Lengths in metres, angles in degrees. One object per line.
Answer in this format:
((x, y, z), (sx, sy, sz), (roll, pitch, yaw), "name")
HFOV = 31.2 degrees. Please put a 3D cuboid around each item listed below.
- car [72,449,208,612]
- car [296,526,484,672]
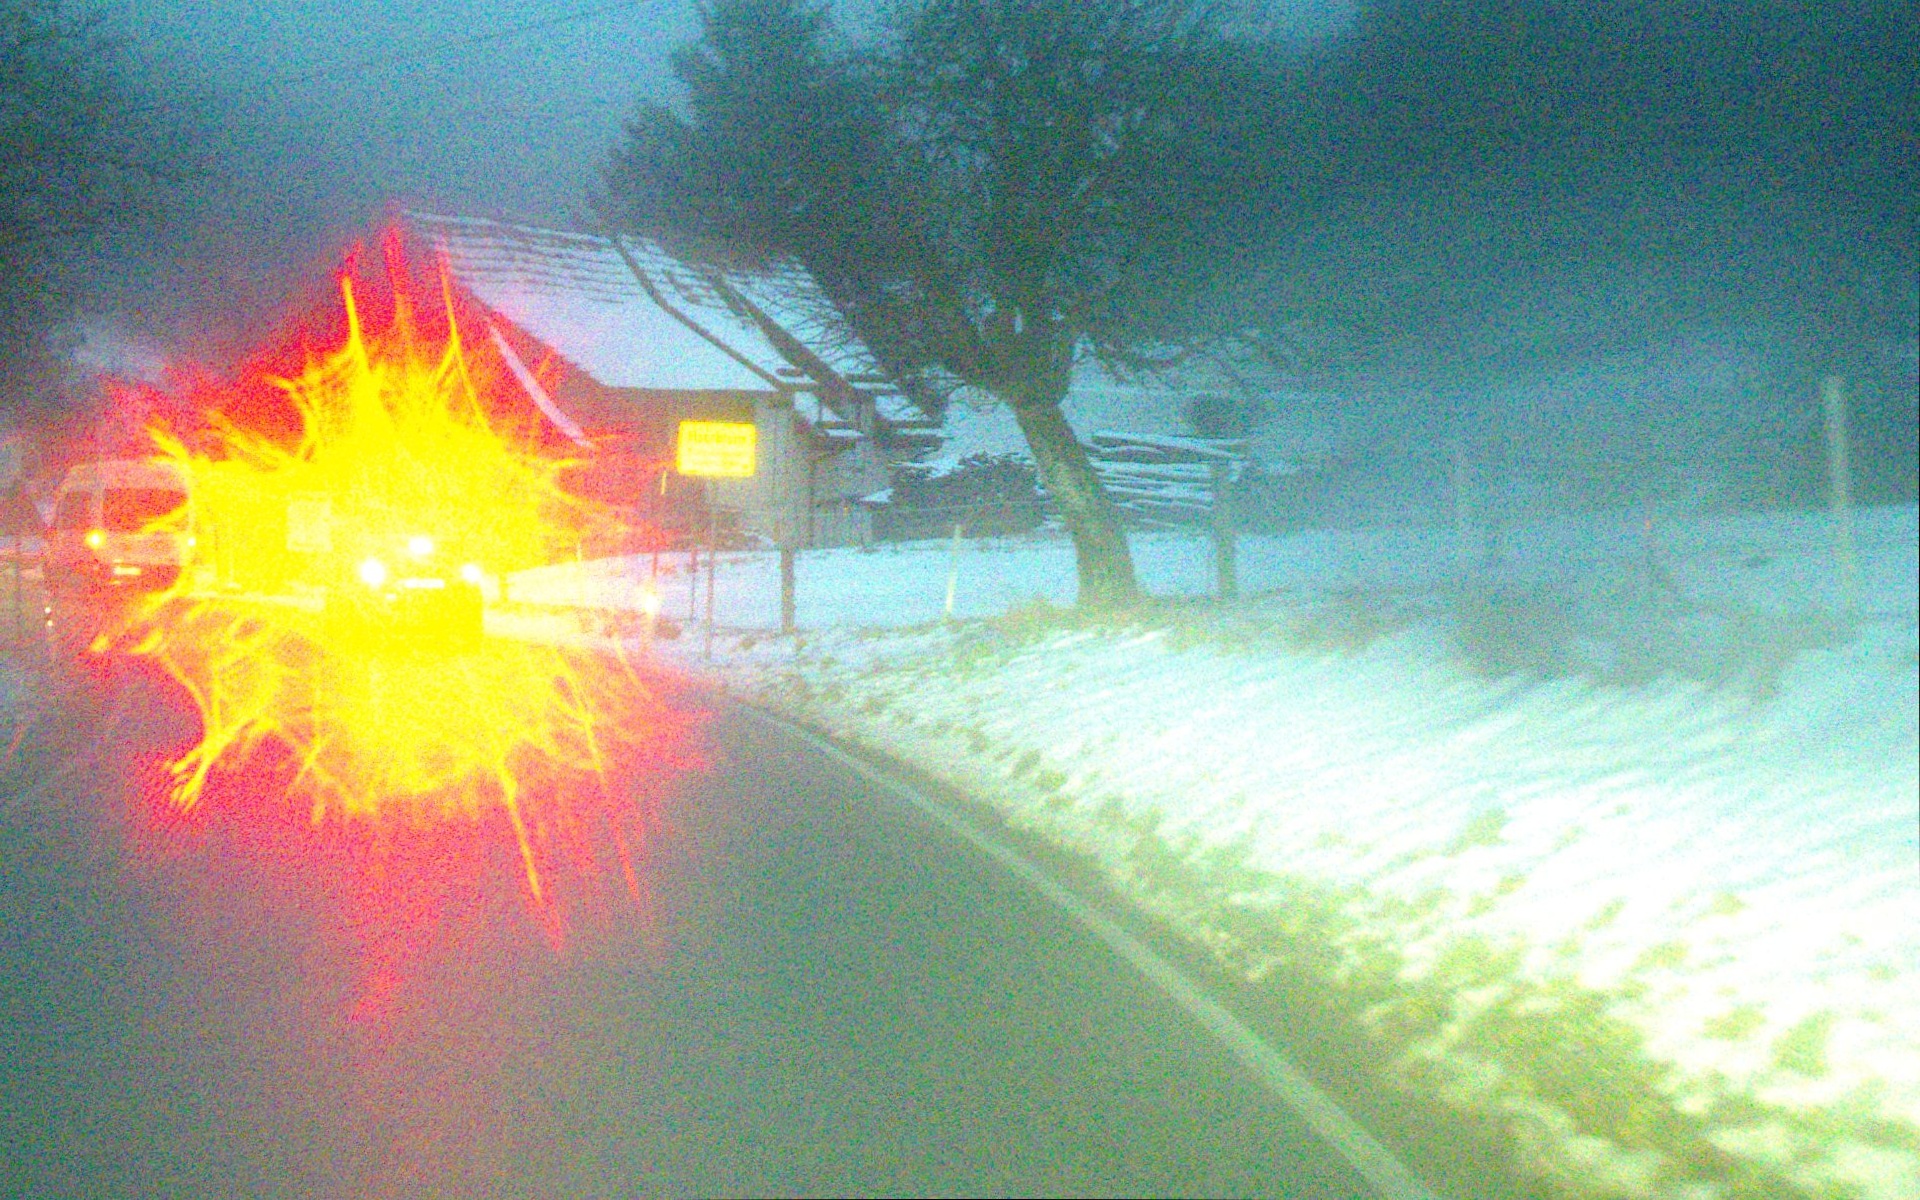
((-15.788, -1.294, 66.238), (2.434, 3.008, 5.326), (0, 0, -13), "car")
((-7.810, -0.038, 46.753), (2.273, 1.834, 5.008), (-1, 1, -12), "car")
